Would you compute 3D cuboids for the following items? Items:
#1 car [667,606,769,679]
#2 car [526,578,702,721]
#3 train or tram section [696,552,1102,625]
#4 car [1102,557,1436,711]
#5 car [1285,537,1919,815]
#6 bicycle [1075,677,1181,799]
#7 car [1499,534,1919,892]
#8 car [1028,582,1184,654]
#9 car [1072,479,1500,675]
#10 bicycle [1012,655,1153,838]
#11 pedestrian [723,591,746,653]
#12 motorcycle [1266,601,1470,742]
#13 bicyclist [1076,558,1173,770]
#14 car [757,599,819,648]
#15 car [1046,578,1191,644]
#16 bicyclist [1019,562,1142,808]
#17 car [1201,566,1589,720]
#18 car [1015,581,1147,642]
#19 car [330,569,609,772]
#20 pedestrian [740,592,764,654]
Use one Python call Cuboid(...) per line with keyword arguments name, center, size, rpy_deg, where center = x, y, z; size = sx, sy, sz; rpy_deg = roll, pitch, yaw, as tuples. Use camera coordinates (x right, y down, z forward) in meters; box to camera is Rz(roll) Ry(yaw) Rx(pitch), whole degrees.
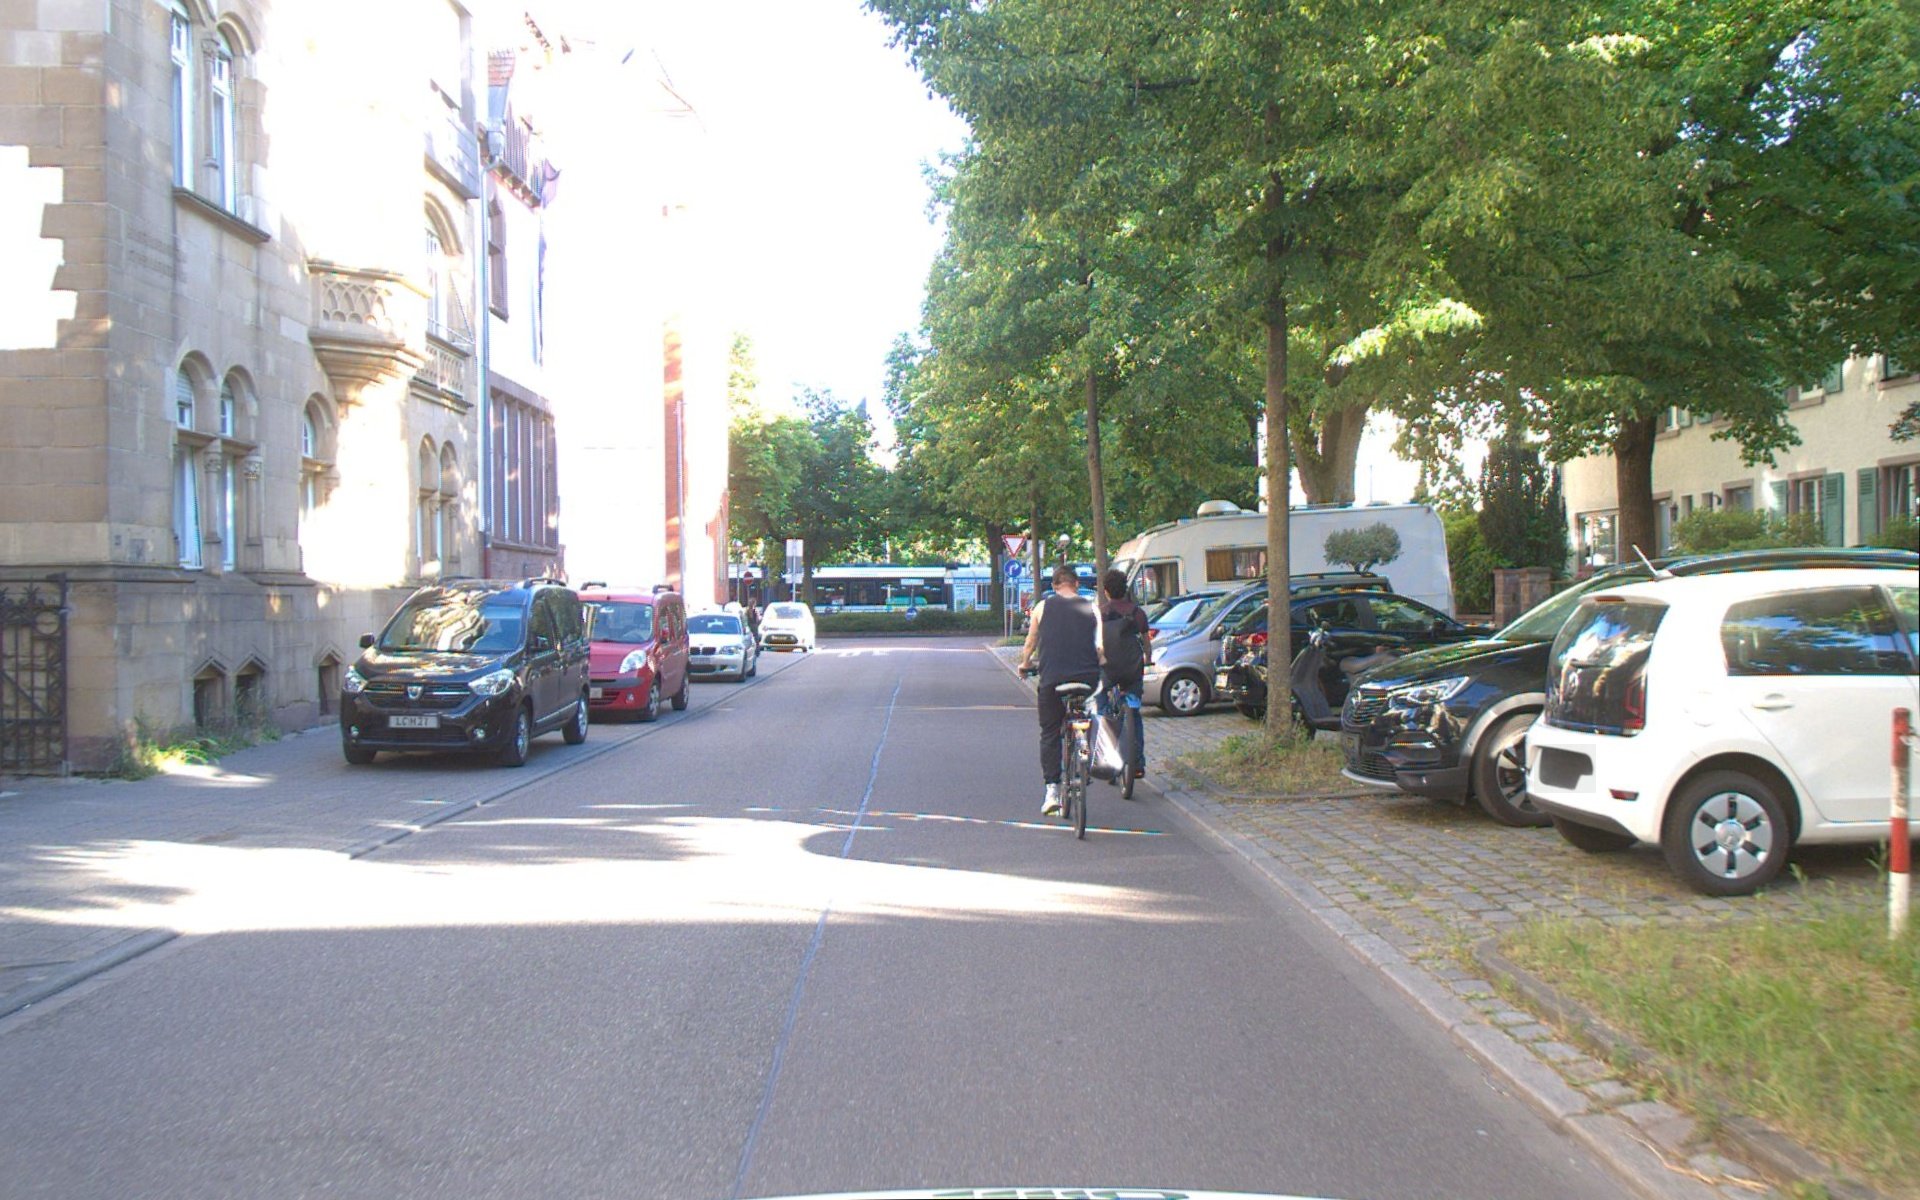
Cuboid(name="car", center=(-5.046, 0.855, 34.938), size=(1.551, 1.367, 4.131), rpy_deg=(1, 1, -1))
Cuboid(name="car", center=(-4.890, 0.631, 23.927), size=(1.654, 1.857, 4.272), rpy_deg=(1, 1, -1))
Cuboid(name="train or tram section", center=(-3.170, -0.526, 95.070), size=(23.487, 3.773, 4.254), rpy_deg=(1, -1, -24))
Cuboid(name="car", center=(4.037, 0.434, 21.959), size=(4.002, 1.678, 1.640), rpy_deg=(-4, 0, -3))
Cuboid(name="car", center=(4.391, 0.490, 11.099), size=(4.054, 1.628, 1.702), rpy_deg=(-2, -2, 0))
Cuboid(name="bicycle", center=(1.337, 1.089, 13.449), size=(0.620, 0.813, 1.832), rpy_deg=(-1, 0, -1))
Cuboid(name="car", center=(4.915, 0.499, 8.532), size=(3.695, 1.627, 1.691), rpy_deg=(-1, 0, 0))
Cuboid(name="car", center=(3.832, 0.477, 43.830), size=(3.908, 1.835, 1.833), rpy_deg=(0, -1, -4))
Cuboid(name="car", center=(5.705, -0.413, 29.574), size=(7.006, 3.030, 2.462), rpy_deg=(-3, 0, -4))
Cuboid(name="bicycle", center=(0.787, 0.931, 11.142), size=(0.722, 1.072, 1.955), rpy_deg=(1, -1, -2))
Cuboid(name="pedestrian", center=(-6.616, 0.646, 48.547), size=(0.596, 1.793, 0.432), rpy_deg=(0, -1, -1))
Cuboid(name="motorcycle", center=(3.546, 0.610, 14.413), size=(1.574, 1.161, 0.671), rpy_deg=(-1, 0, 32))
Cuboid(name="bicyclist", center=(1.325, 0.502, 13.449), size=(0.675, 1.655, 0.998), rpy_deg=(0, 0, -1))
Cuboid(name="car", center=(-5.413, 0.714, 52.500), size=(1.551, 1.399, 4.131), rpy_deg=(1, 1, -1))
Cuboid(name="car", center=(4.529, 0.319, 47.601), size=(3.908, 1.835, 1.833), rpy_deg=(0, -1, -4))
Cuboid(name="bicyclist", center=(0.795, 0.553, 11.126), size=(0.715, 1.575, 0.884), rpy_deg=(1, -1, -2))
Cuboid(name="car", center=(5.042, 0.506, 19.498), size=(4.057, 1.628, 1.701), rpy_deg=(-1, -2, -4))
Cuboid(name="car", center=(3.750, 0.354, 51.717), size=(3.908, 1.835, 1.833), rpy_deg=(0, -1, -4))
Cuboid(name="car", center=(-4.922, 0.616, 17.208), size=(1.607, 1.814, 4.354), rpy_deg=(1, 1, -1))
Cuboid(name="pedestrian", center=(-5.708, 0.634, 45.456), size=(0.596, 1.708, 0.518), rpy_deg=(0, -1, -1))
